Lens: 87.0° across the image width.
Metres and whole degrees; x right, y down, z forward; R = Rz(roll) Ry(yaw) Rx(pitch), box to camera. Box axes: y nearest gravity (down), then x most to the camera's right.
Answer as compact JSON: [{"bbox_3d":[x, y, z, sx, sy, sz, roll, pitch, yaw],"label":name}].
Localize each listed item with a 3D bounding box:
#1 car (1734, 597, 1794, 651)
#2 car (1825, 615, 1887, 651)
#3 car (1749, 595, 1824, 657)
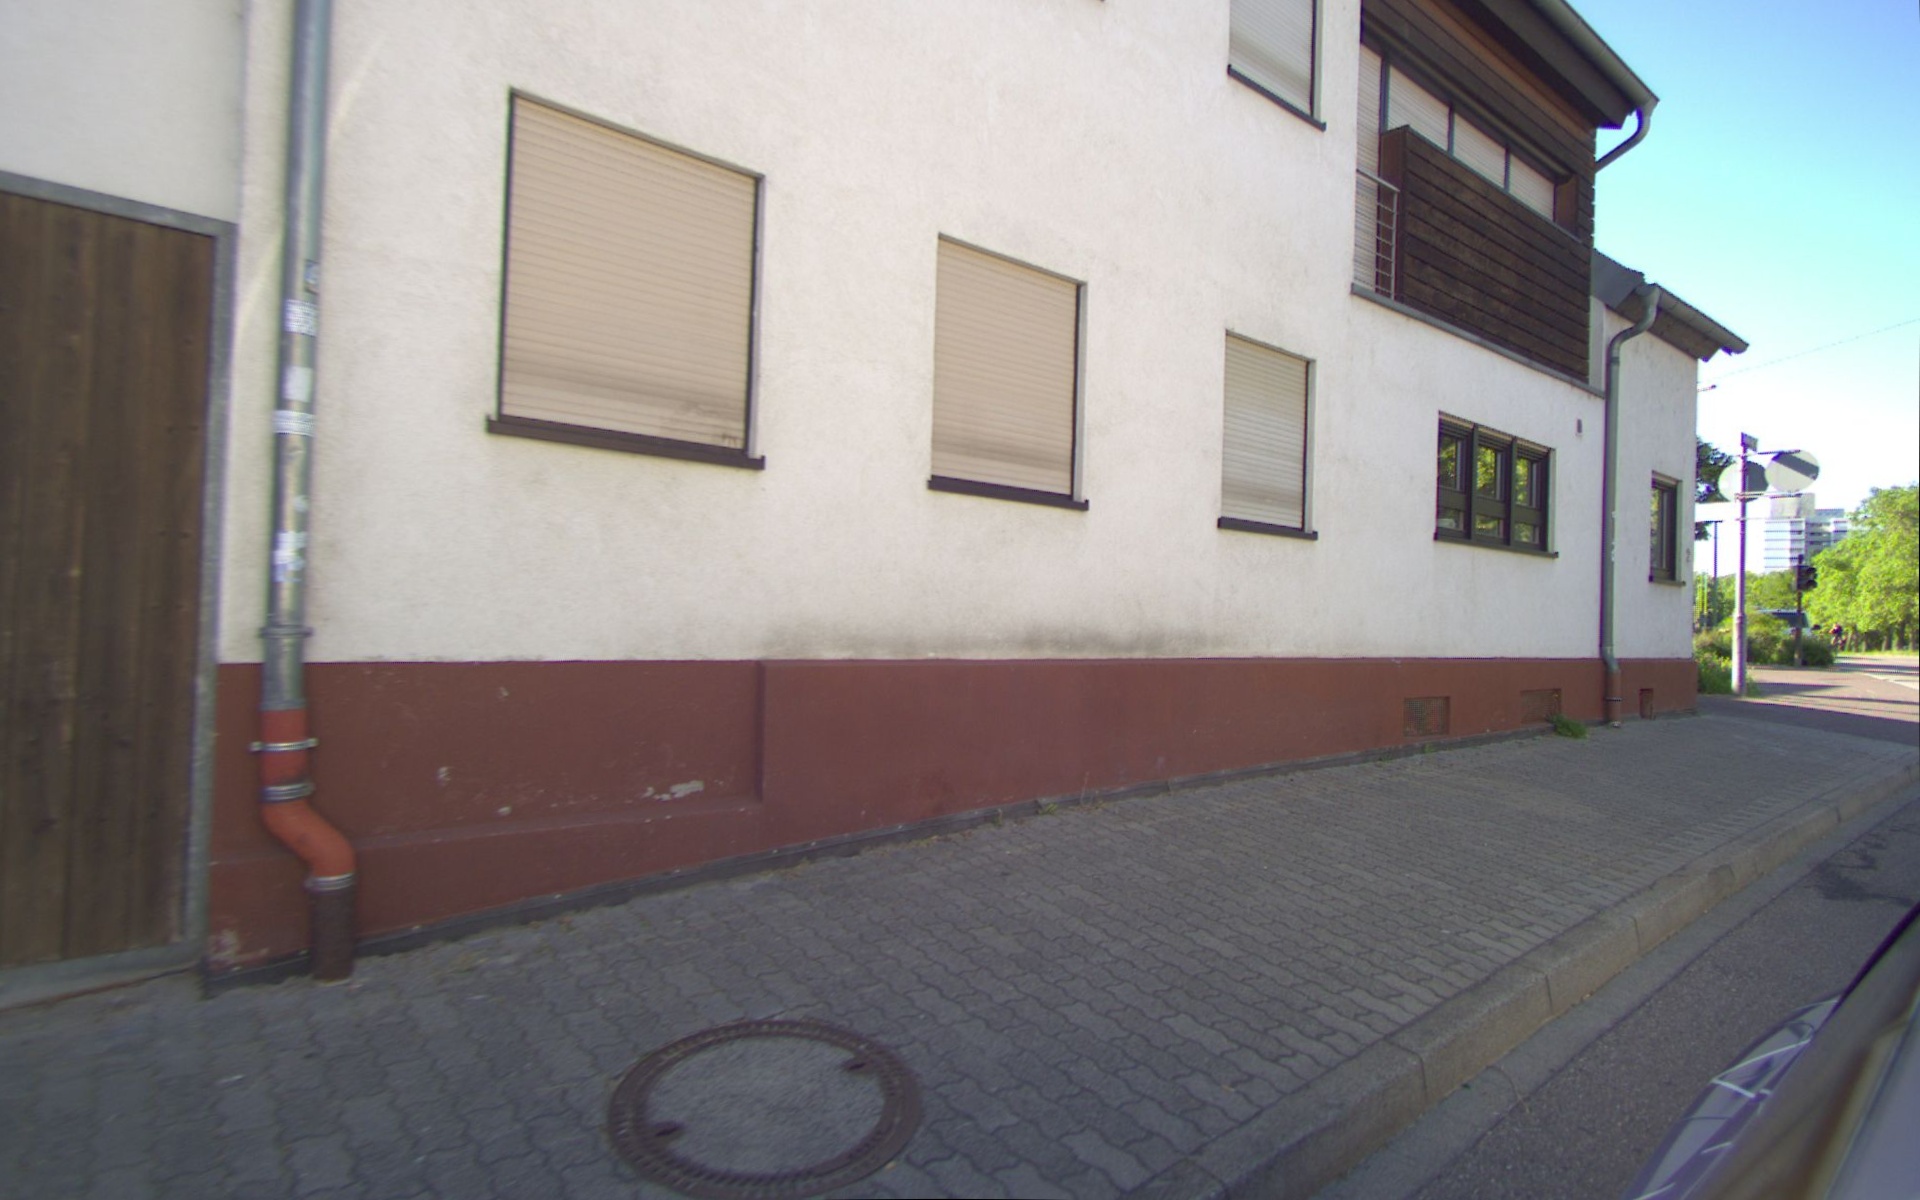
[{"bbox_3d":[41.516,1.244,52.359,1.950,2.679,5.158,0,-2,34],"label":"car"},{"bbox_3d":[51.097,1.836,57.795,1.952,1.944,4.523,0,-1,33],"label":"car"},{"bbox_3d":[29.876,0.916,36.573,1.991,2.105,4.510,0,-1,40],"label":"car"}]
